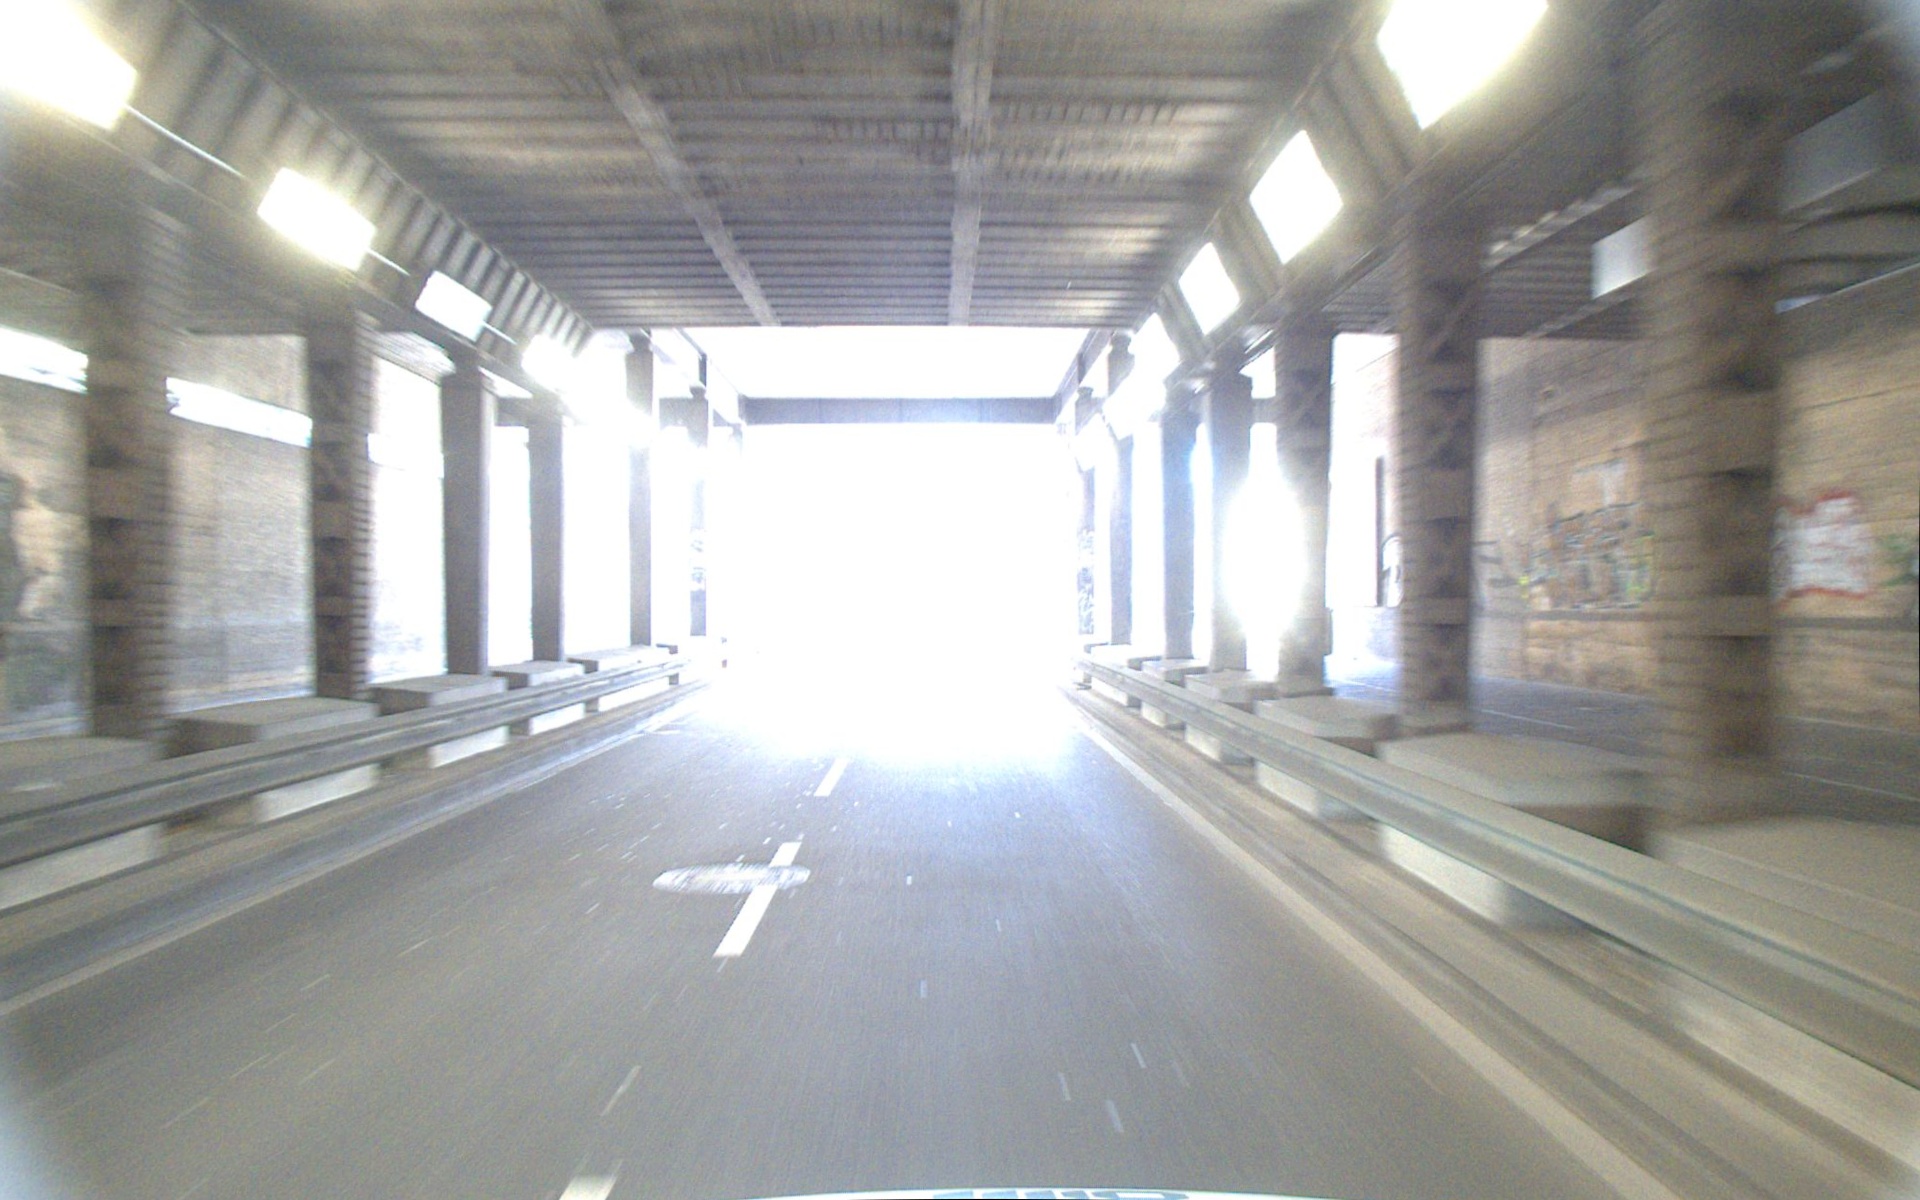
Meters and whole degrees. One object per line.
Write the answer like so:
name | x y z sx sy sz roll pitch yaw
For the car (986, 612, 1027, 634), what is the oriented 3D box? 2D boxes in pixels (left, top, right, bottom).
car | 3.178 1.543 111.646 1.772 1.415 4.249 0 0 16

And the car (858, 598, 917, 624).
car | -4.506 0.669 103.203 1.889 1.601 3.872 0 0 31

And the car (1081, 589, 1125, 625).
car | 6.570 0.313 75.706 1.775 1.610 4.003 0 0 8

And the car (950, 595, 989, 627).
car | 0.448 0.500 76.447 1.750 1.418 4.105 0 0 0

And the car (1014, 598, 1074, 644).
car | 2.940 0.706 58.756 1.908 1.555 4.089 0 0 0

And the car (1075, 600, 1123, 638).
car | 5.852 0.771 69.358 1.694 1.527 4.003 0 0 9

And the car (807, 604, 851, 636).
car | -6.210 0.932 78.676 1.716 1.429 4.416 0 0 1

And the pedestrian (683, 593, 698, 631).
pedestrian | -11.892 0.543 73.045 0.507 1.668 0.620 0 -1 -28
